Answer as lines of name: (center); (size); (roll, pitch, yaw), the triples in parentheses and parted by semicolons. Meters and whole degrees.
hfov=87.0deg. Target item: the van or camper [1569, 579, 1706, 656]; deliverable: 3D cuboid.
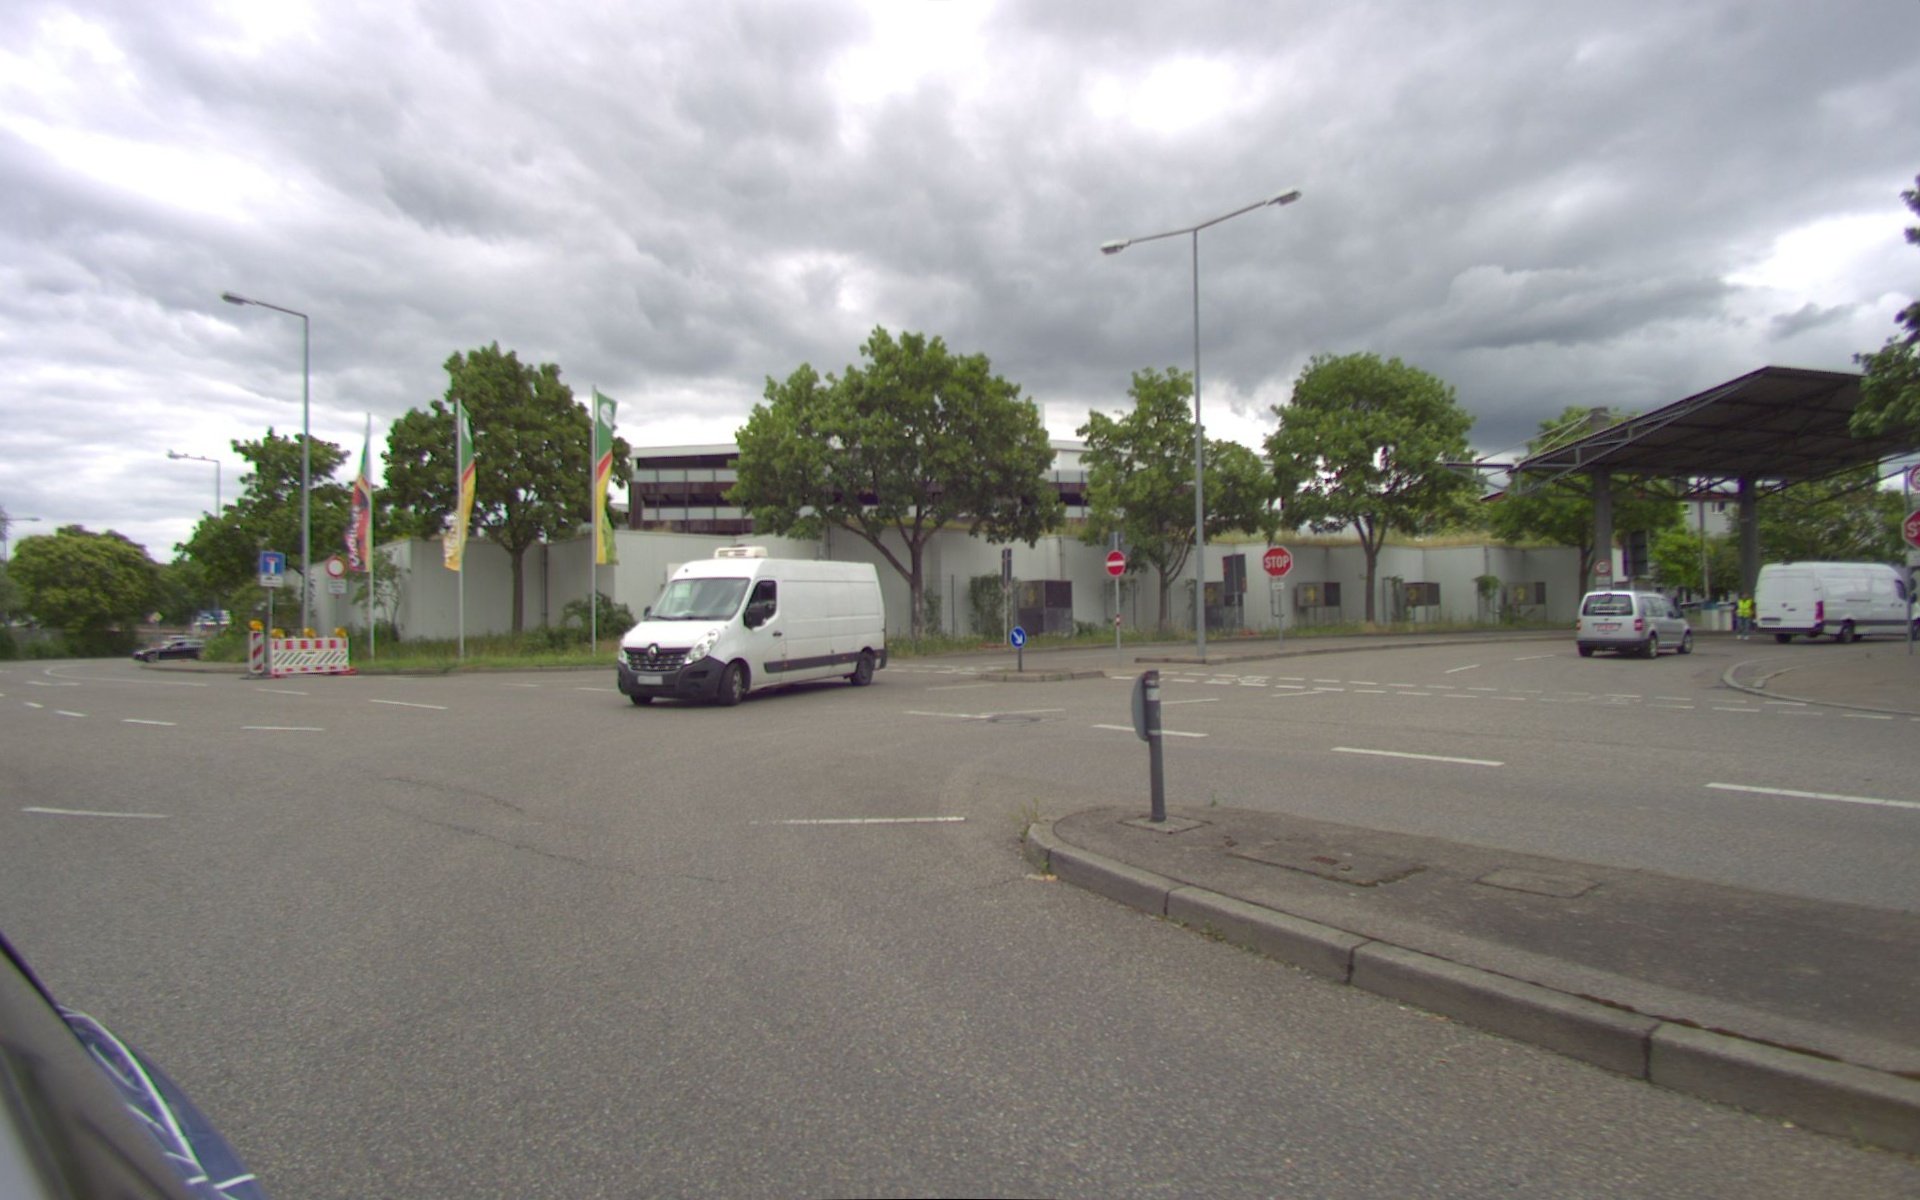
van or camper: (18.959, 0.458, 28.263); (4.208, 1.978, 1.962); (0, -1, -39)

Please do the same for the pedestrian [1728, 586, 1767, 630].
pedestrian: (28.317, 0.297, 36.391); (0.802, 1.571, 0.772); (0, -2, -25)

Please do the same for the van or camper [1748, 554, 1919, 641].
van or camper: (29.147, -0.100, 33.299); (6.463, 2.576, 2.339); (-2, -1, -26)

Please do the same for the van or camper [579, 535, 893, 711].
van or camper: (-3.637, 0.373, 18.026); (2.259, 2.576, 6.058); (-3, -1, 24)

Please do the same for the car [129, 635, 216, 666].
car: (-53.396, 3.428, 68.701); (4.548, 1.823, 2.004); (-2, -1, -38)
